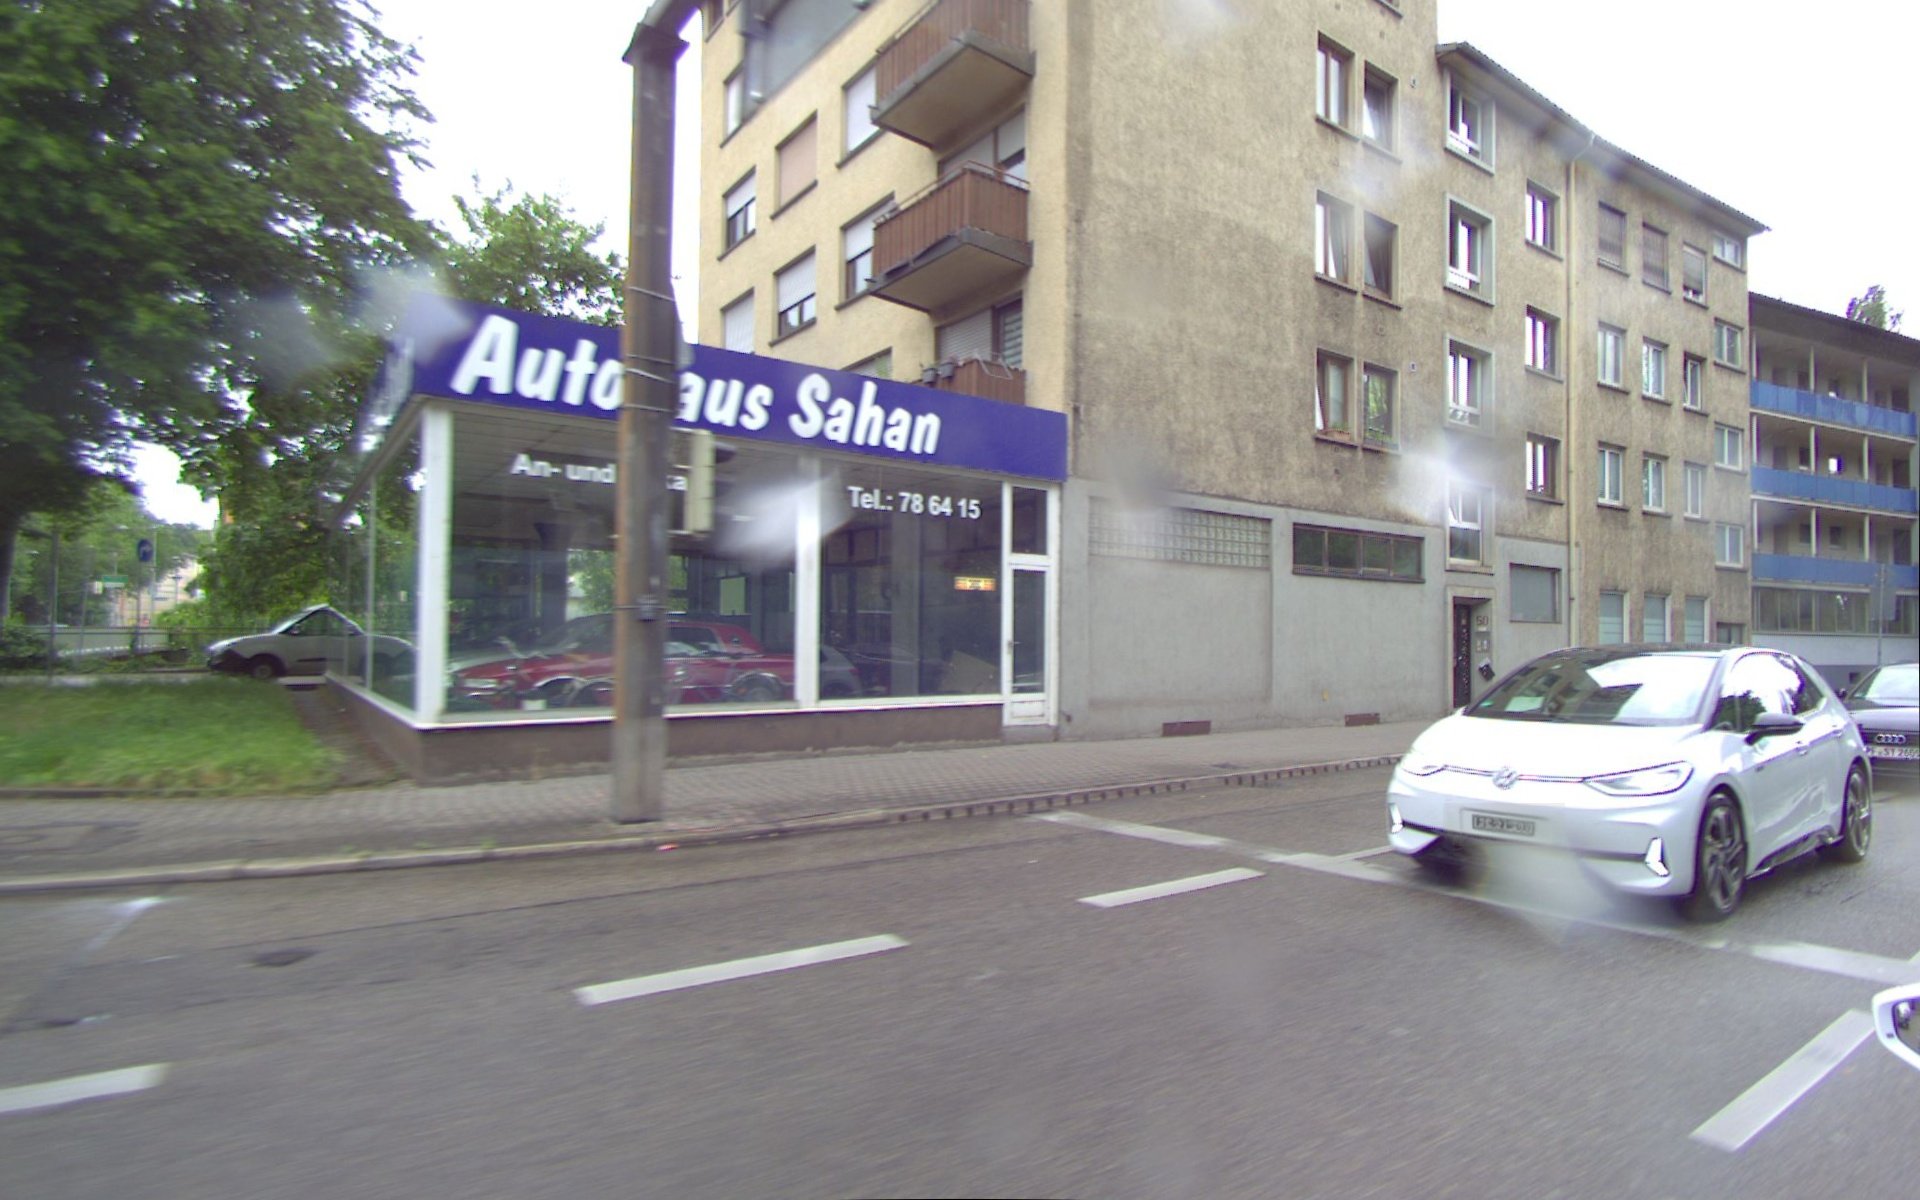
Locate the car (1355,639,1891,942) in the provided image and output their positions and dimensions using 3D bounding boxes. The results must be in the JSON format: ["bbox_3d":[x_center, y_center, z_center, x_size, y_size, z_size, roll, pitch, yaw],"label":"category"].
[{"bbox_3d":[4.772,1.069,7.036,4.176,1.515,1.773,2,-4,-36],"label":"car"}]

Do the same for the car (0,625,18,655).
[{"bbox_3d":[-53.276,2.187,54.871,1.812,1.610,4.286,2,-3,-32],"label":"car"}]

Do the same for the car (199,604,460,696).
[{"bbox_3d":[-13.977,1.101,22.438,4.707,1.854,1.959,2,-3,-41],"label":"car"}]

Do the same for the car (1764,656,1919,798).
[{"bbox_3d":[11.409,1.381,11.799,4.577,1.425,1.780,2,-3,-34],"label":"car"}]

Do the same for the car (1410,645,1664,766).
[{"bbox_3d":[8.198,1.394,14.173,3.962,1.474,1.646,2,-4,-37],"label":"car"}]
